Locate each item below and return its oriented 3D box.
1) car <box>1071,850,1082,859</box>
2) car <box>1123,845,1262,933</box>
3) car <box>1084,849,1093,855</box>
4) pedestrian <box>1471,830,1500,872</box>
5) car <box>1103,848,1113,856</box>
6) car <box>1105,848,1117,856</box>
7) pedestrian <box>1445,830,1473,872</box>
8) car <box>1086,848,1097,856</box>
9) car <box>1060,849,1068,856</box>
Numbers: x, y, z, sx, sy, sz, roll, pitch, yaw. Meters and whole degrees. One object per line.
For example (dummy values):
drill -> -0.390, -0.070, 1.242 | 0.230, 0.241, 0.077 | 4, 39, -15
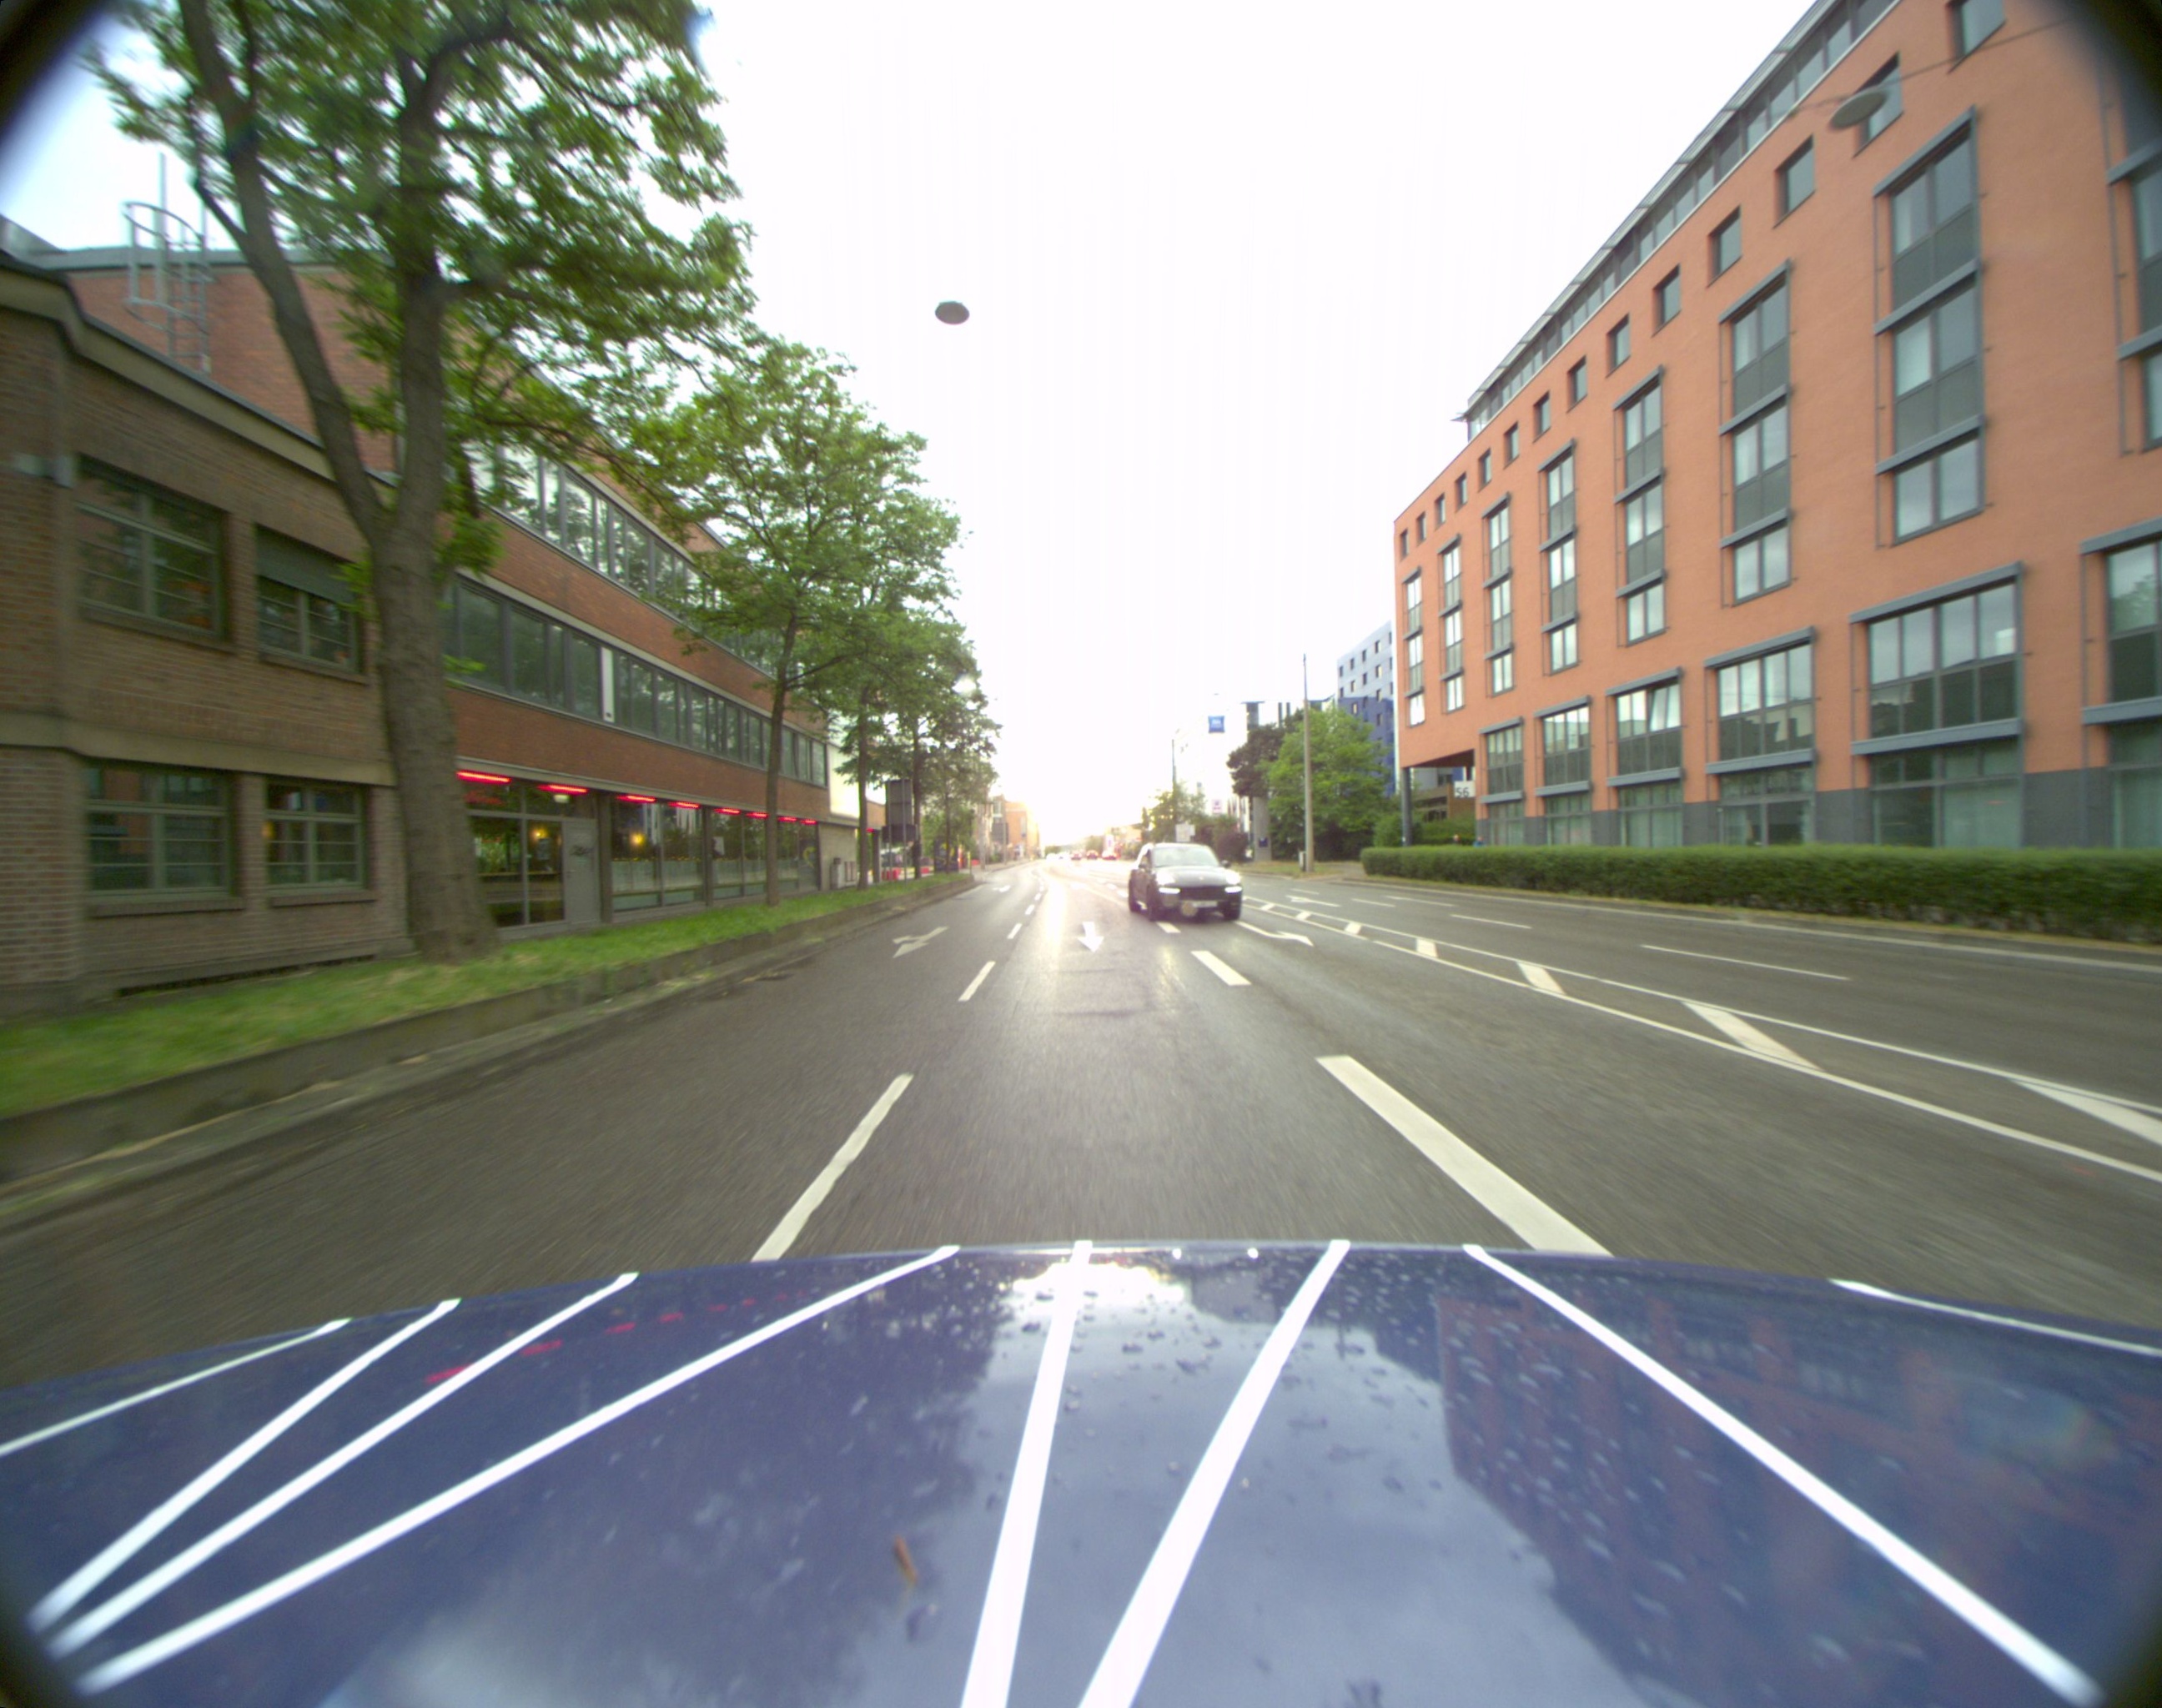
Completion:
car -> -0.773, 0.058, 137.742 | 1.999, 1.543, 3.999 | -2, 1, 0
car -> 2.309, 0.664, 17.397 | 1.999, 1.656, 5.422 | -1, 0, -4
car -> 1.869, -0.506, 188.462 | 1.999, 1.543, 3.999 | -2, 1, 0
pedestrian -> 18.120, -0.154, 34.064 | 0.747, 1.830, 0.885 | -3, 1, -1
car -> 5.508, -0.494, 153.540 | 1.767, 1.559, 3.999 | 0, 1, -2
car -> 5.372, -0.361, 136.532 | 1.767, 1.559, 3.998 | 0, 1, -3
pedestrian -> 17.041, -0.120, 34.262 | 0.747, 1.830, 0.885 | -3, 1, -1
car -> 1.910, -0.411, 145.283 | 1.999, 1.543, 3.999 | -2, 1, 0
car -> -3.887, -0.355, 171.867 | 1.799, 1.501, 4.000 | -1, 0, 0
